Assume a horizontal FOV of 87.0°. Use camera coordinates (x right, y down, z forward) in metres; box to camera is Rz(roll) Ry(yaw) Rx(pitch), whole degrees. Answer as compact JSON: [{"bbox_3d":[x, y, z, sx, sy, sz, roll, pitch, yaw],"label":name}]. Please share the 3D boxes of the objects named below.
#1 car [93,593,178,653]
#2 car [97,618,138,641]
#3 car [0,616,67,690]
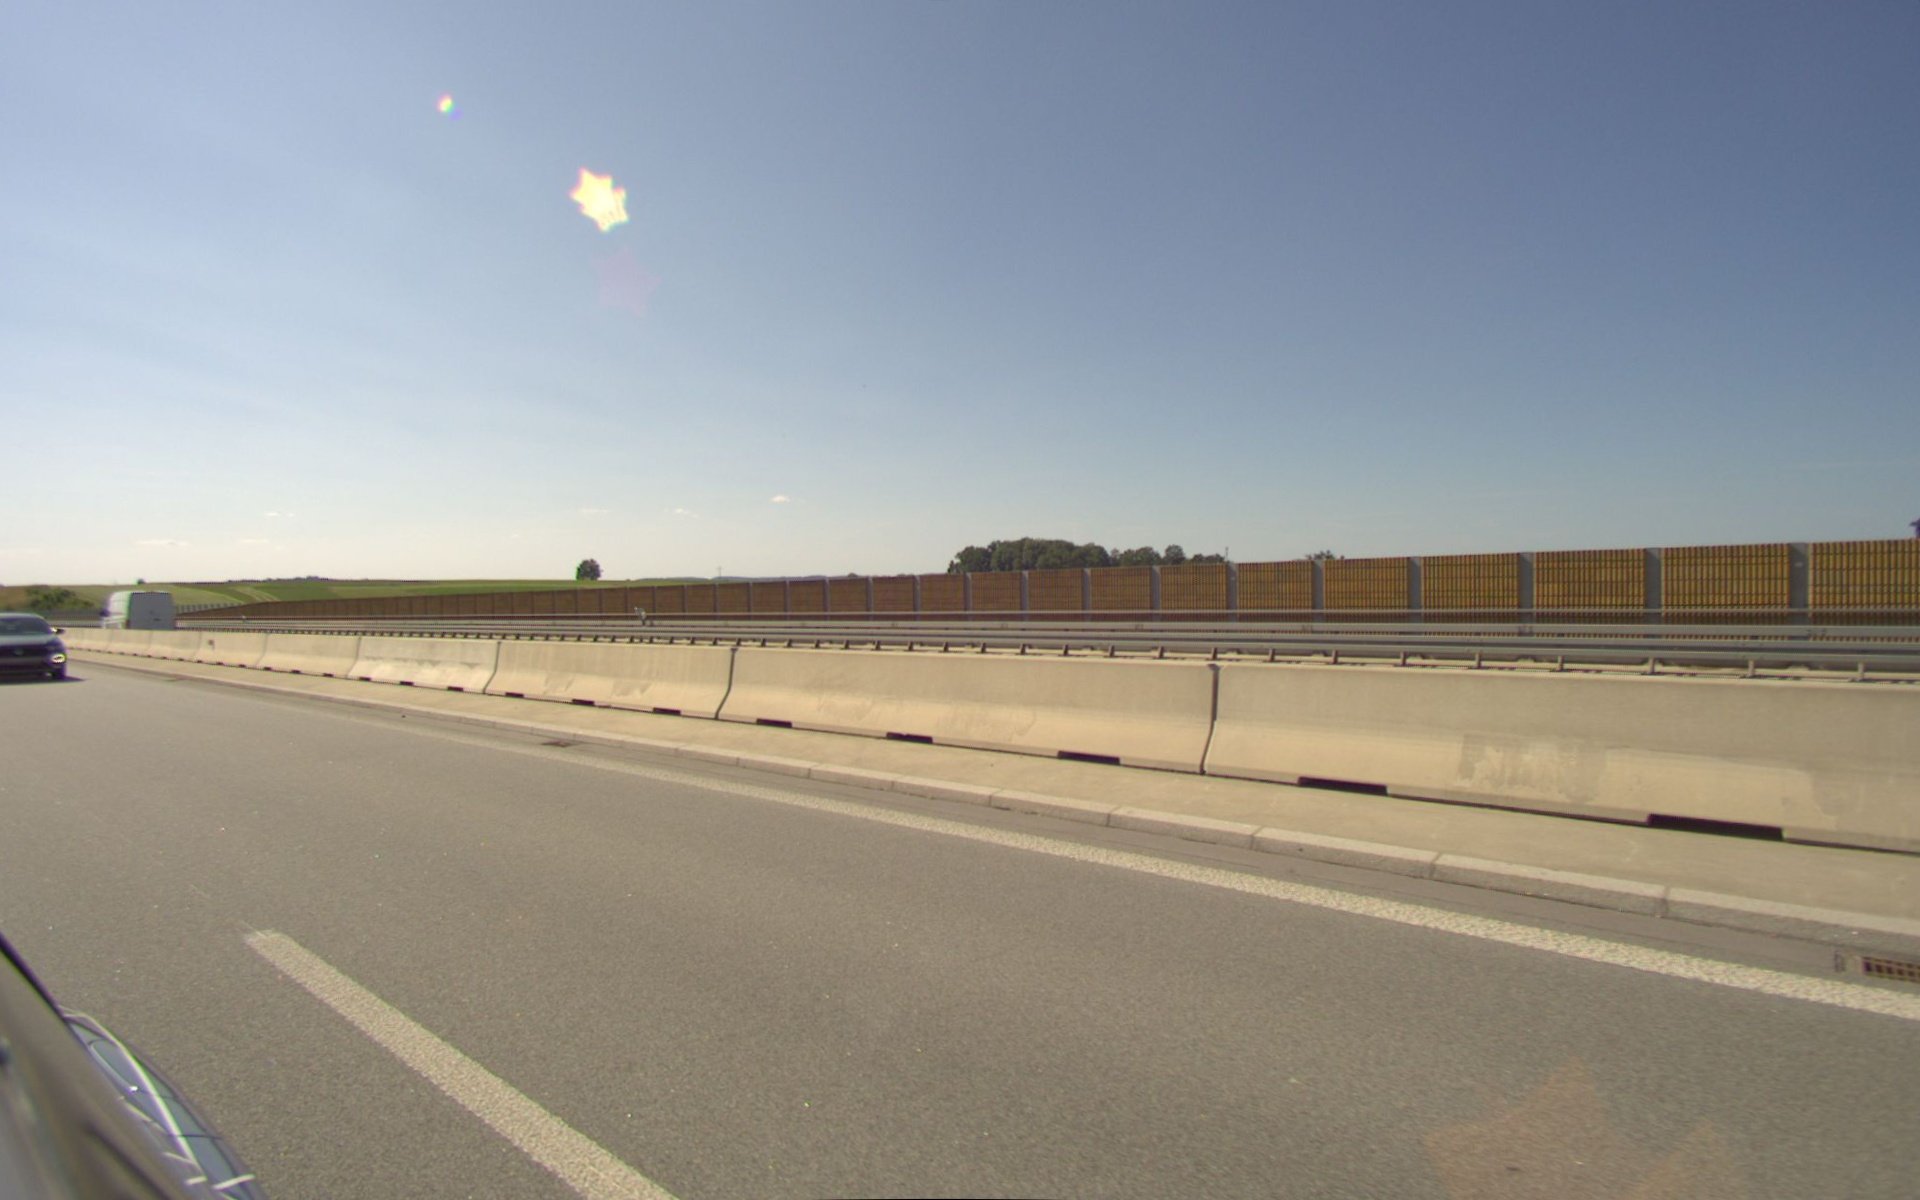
[{"bbox_3d":[-39.732,1.103,48.690,6.482,2.690,2.002,-1,0,40],"label":"car"},{"bbox_3d":[-60.318,2.096,72.460,4.330,1.520,1.630,-1,0,42],"label":"car"},{"bbox_3d":[-22.630,1.201,23.868,4.986,1.581,1.753,-1,0,42],"label":"car"}]
